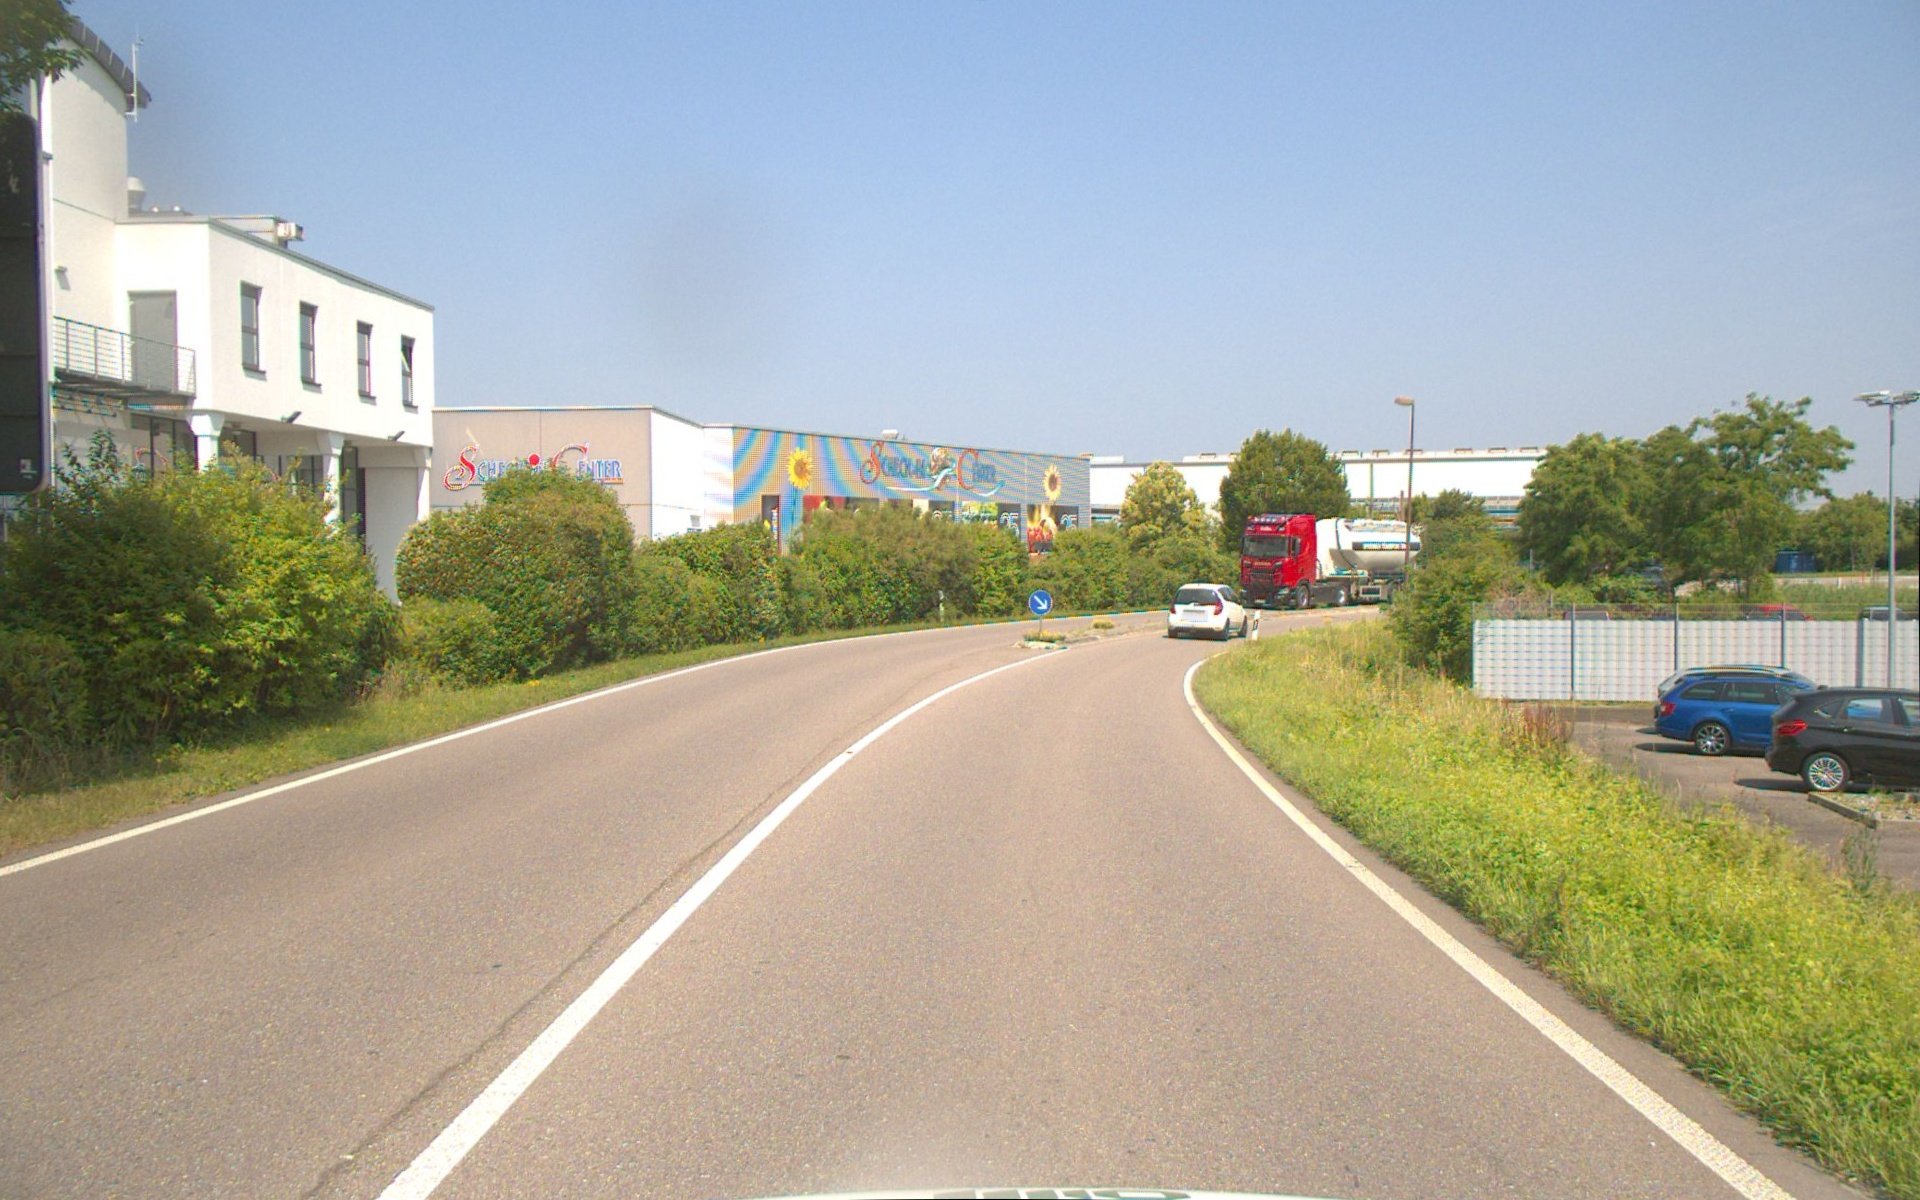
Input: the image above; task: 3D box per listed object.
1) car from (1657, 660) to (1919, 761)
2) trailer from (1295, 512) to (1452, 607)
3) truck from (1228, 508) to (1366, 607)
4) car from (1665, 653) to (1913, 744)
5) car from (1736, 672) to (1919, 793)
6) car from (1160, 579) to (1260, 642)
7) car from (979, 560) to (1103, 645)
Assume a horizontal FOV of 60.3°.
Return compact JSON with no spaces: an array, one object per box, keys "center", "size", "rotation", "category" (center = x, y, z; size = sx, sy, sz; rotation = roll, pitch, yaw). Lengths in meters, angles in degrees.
[{"center":[15.720,2.037,31.233],"size":[4.542,1.524,1.853],"rotation":[1,2,30],"category":"car"},{"center":[19.258,-1.779,76.591],"size":[8.625,4.101,2.843],"rotation":[1,0,-43],"category":"trailer"},{"center":[14.765,-1.767,72.116],"size":[2.841,4.101,6.678],"rotation":[1,0,43],"category":"truck"},{"center":[17.195,1.994,34.418],"size":[4.296,1.529,1.832],"rotation":[1,2,42],"category":"car"},{"center":[14.506,2.050,25.534],"size":[4.538,1.633,1.854],"rotation":[1,1,27],"category":"car"},{"center":[7.437,0.329,48.911],"size":[1.747,1.630,3.890],"rotation":[6,1,25],"category":"car"},{"center":[2.119,0.061,42.152],"size":[1.953,2.049,4.000],"rotation":[1,0,22],"category":"car"}]
